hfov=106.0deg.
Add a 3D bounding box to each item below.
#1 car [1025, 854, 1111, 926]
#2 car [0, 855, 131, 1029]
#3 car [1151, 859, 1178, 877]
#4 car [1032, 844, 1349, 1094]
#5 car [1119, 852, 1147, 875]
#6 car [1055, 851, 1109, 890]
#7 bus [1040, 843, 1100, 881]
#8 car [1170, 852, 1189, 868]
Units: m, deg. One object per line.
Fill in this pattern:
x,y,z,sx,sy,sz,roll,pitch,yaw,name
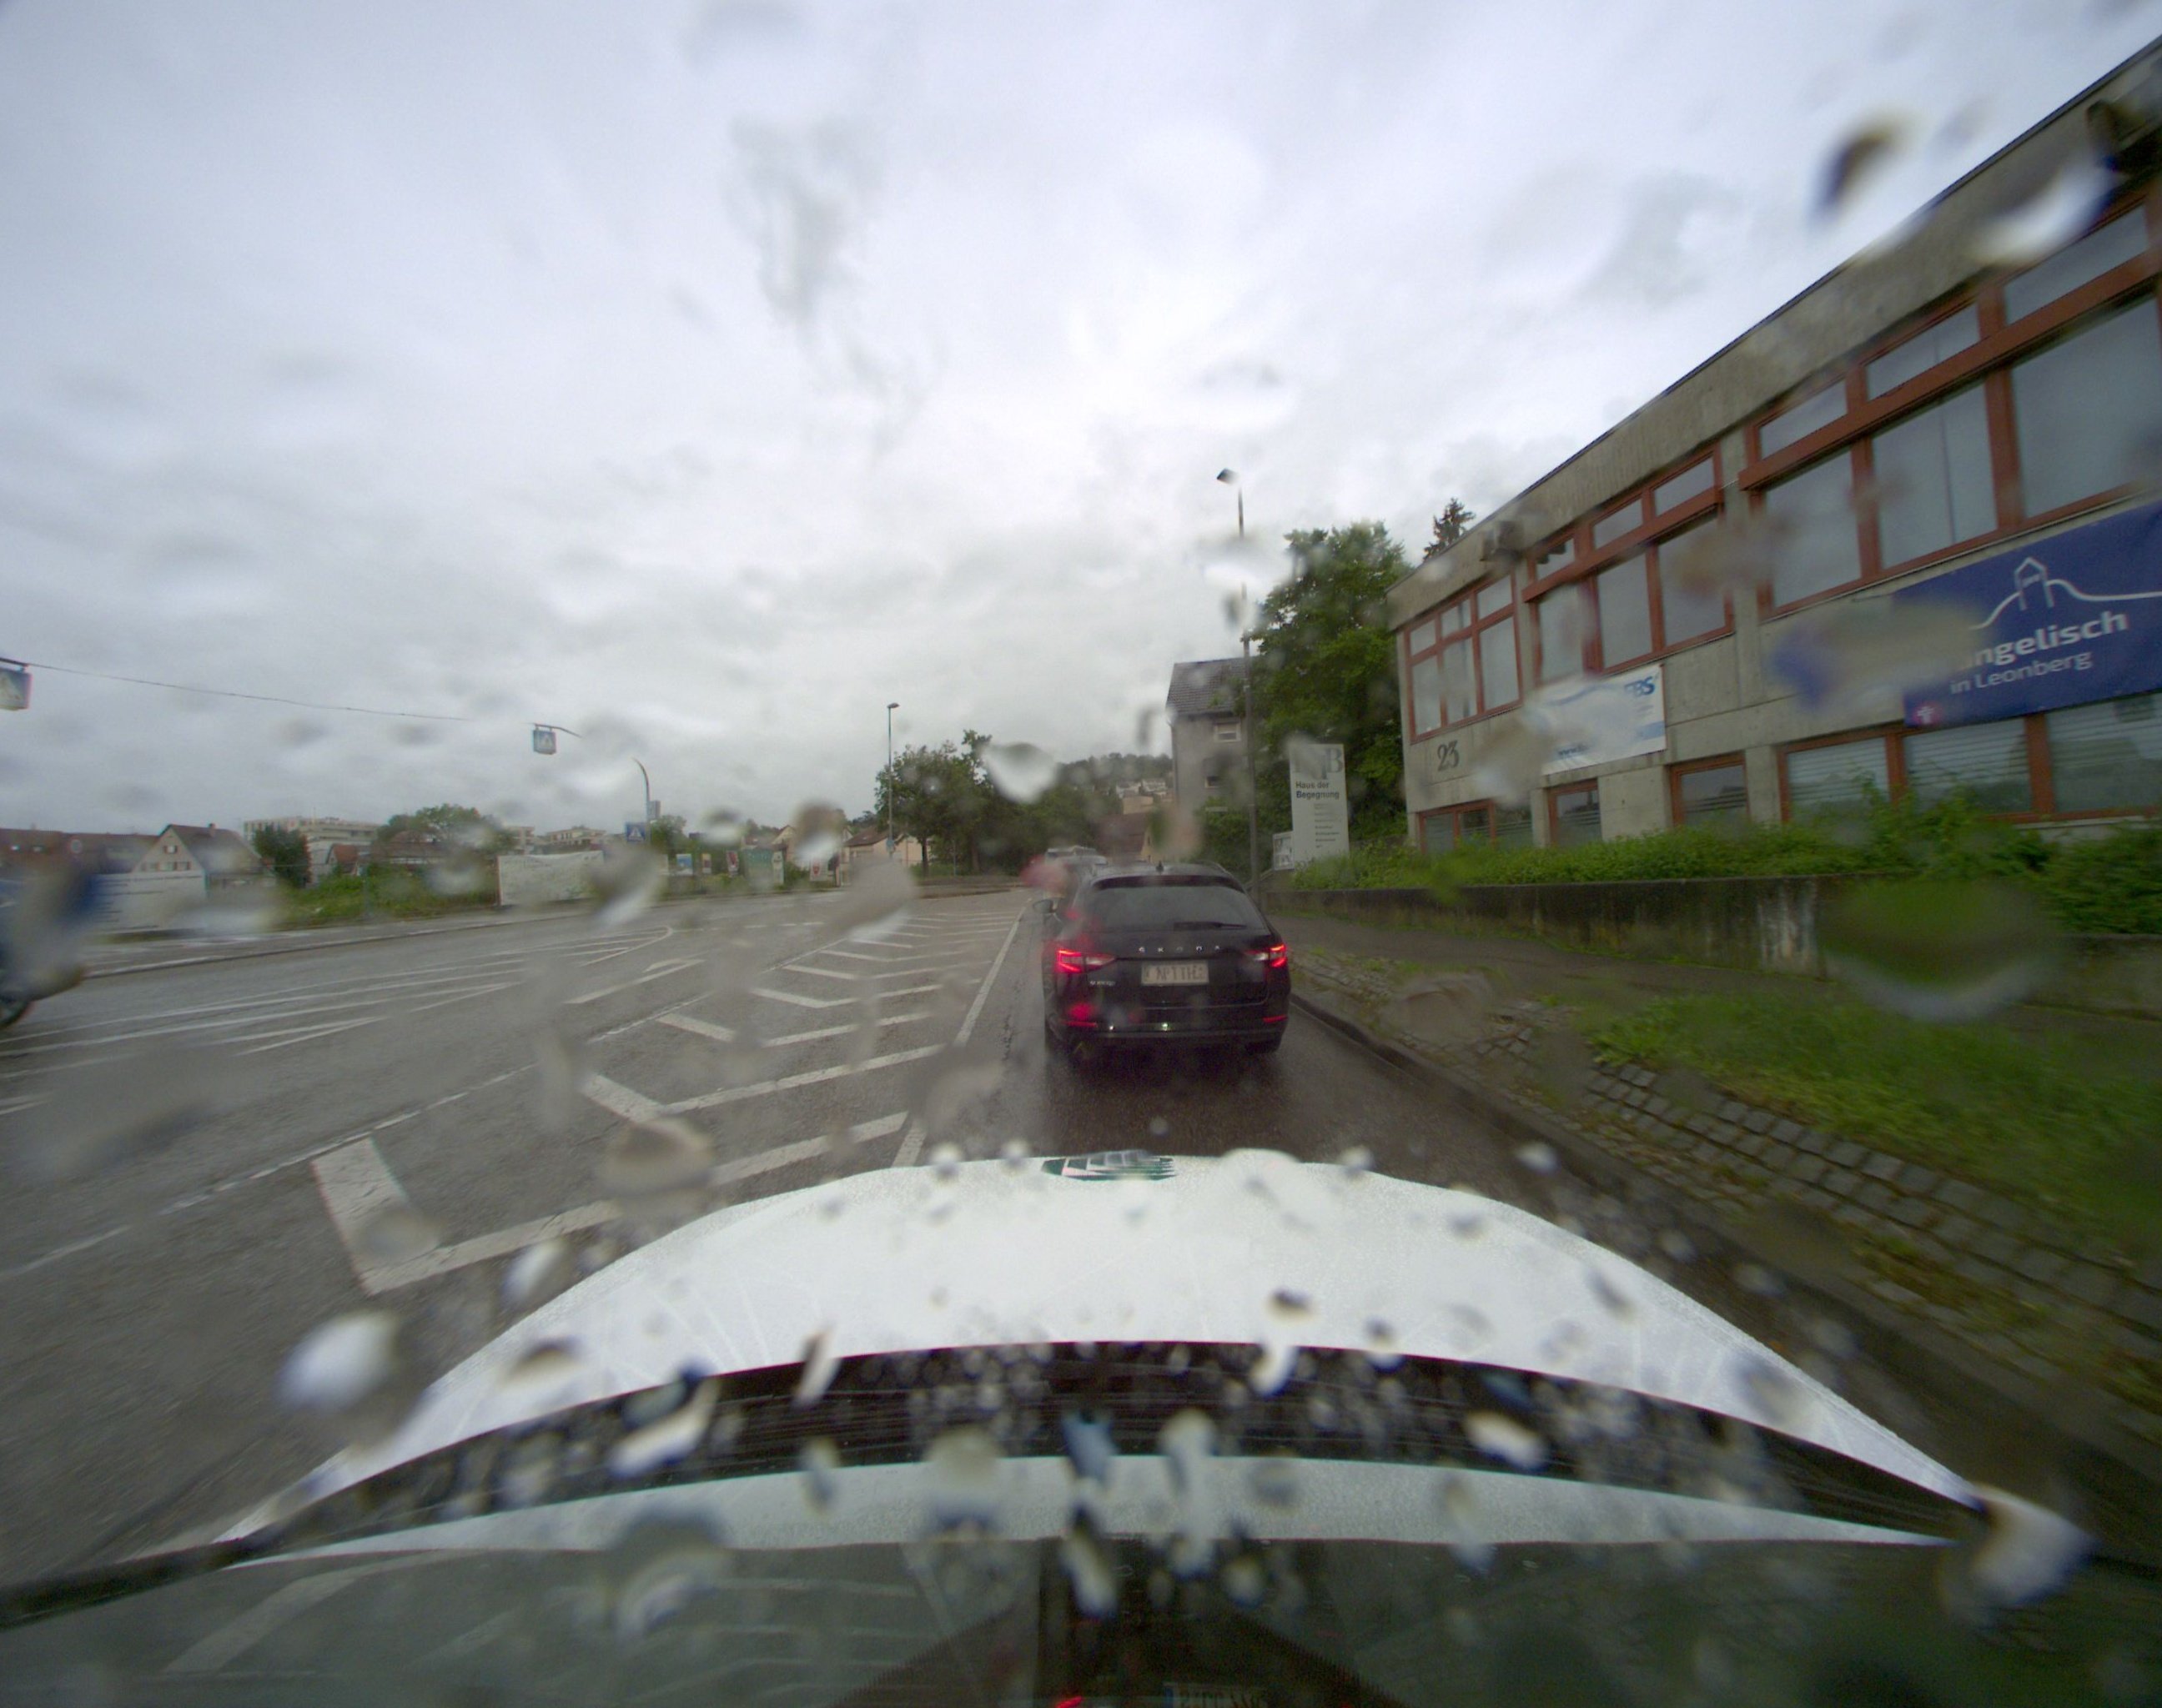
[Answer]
-0.199,0.813,19.521,1.821,1.500,4.170,-1,-1,2,car
-11.514,0.839,6.640,1.987,1.693,4.703,-1,-1,-1,car
7.639,1.275,74.016,1.980,1.453,3.783,-4,-1,12,car
0.557,0.743,7.309,1.950,1.507,4.602,1,-1,-4,car
3.707,0.651,57.658,1.558,1.530,4.010,-2,0,9,car
0.111,0.661,32.335,1.840,1.410,4.305,-1,-1,3,car
-0.757,0.562,63.254,2.377,2.676,7.080,-2,0,18,bus
12.962,0.831,107.139,1.987,2.014,3.998,-1,-1,-1,car
